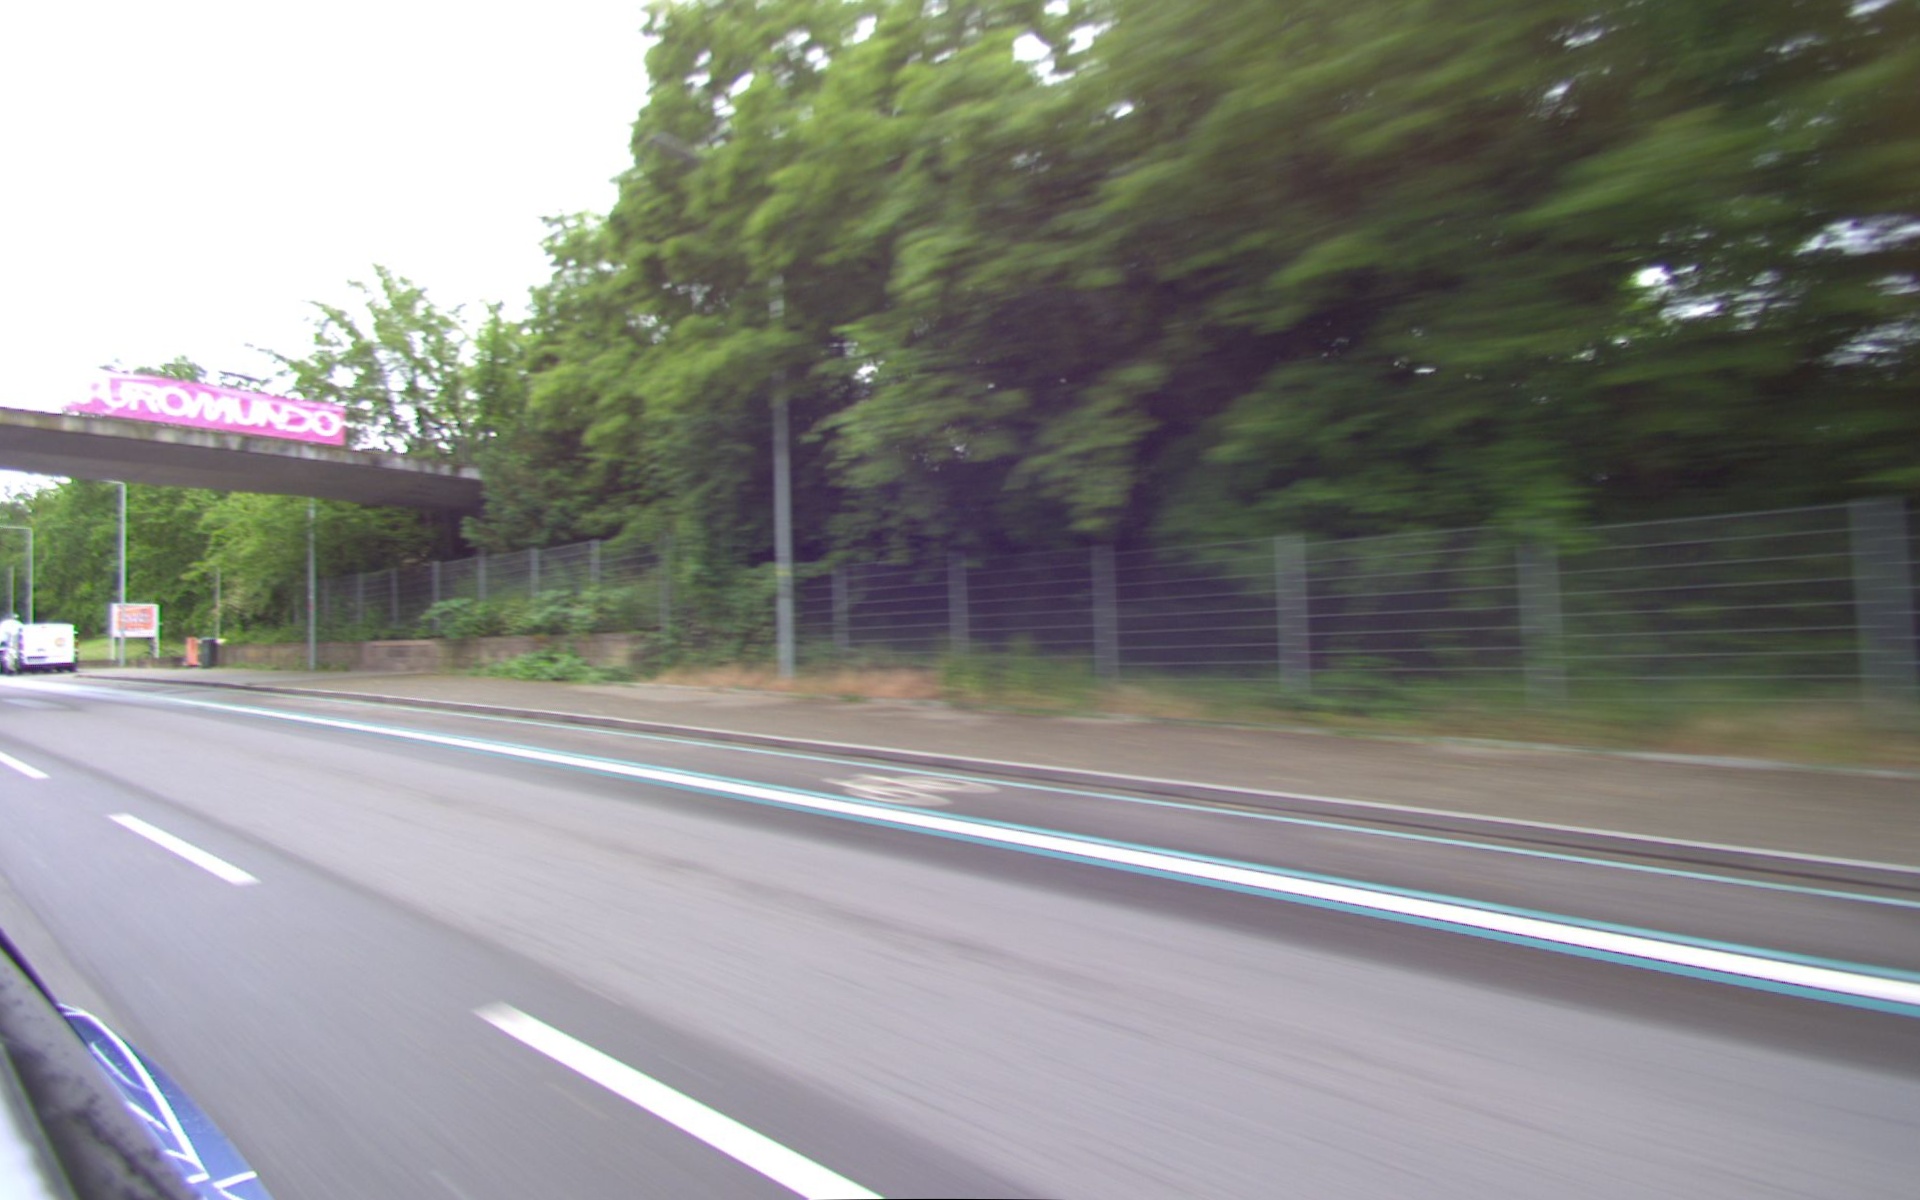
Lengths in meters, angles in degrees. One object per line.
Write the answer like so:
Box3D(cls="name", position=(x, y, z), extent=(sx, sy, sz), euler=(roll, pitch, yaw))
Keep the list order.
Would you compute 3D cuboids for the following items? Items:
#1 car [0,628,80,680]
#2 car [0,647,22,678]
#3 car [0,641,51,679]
Box3D(cls="car", position=(-37.284, 2.212, 40.883), extent=(5.224, 1.929, 1.958), euler=(-4, -4, 42))
Box3D(cls="car", position=(-47.731, 3.125, 49.883), extent=(4.033, 1.457, 1.592), euler=(-4, -4, 39))
Box3D(cls="car", position=(-42.897, 2.749, 45.829), extent=(4.657, 1.628, 1.806), euler=(-4, -4, 39))
